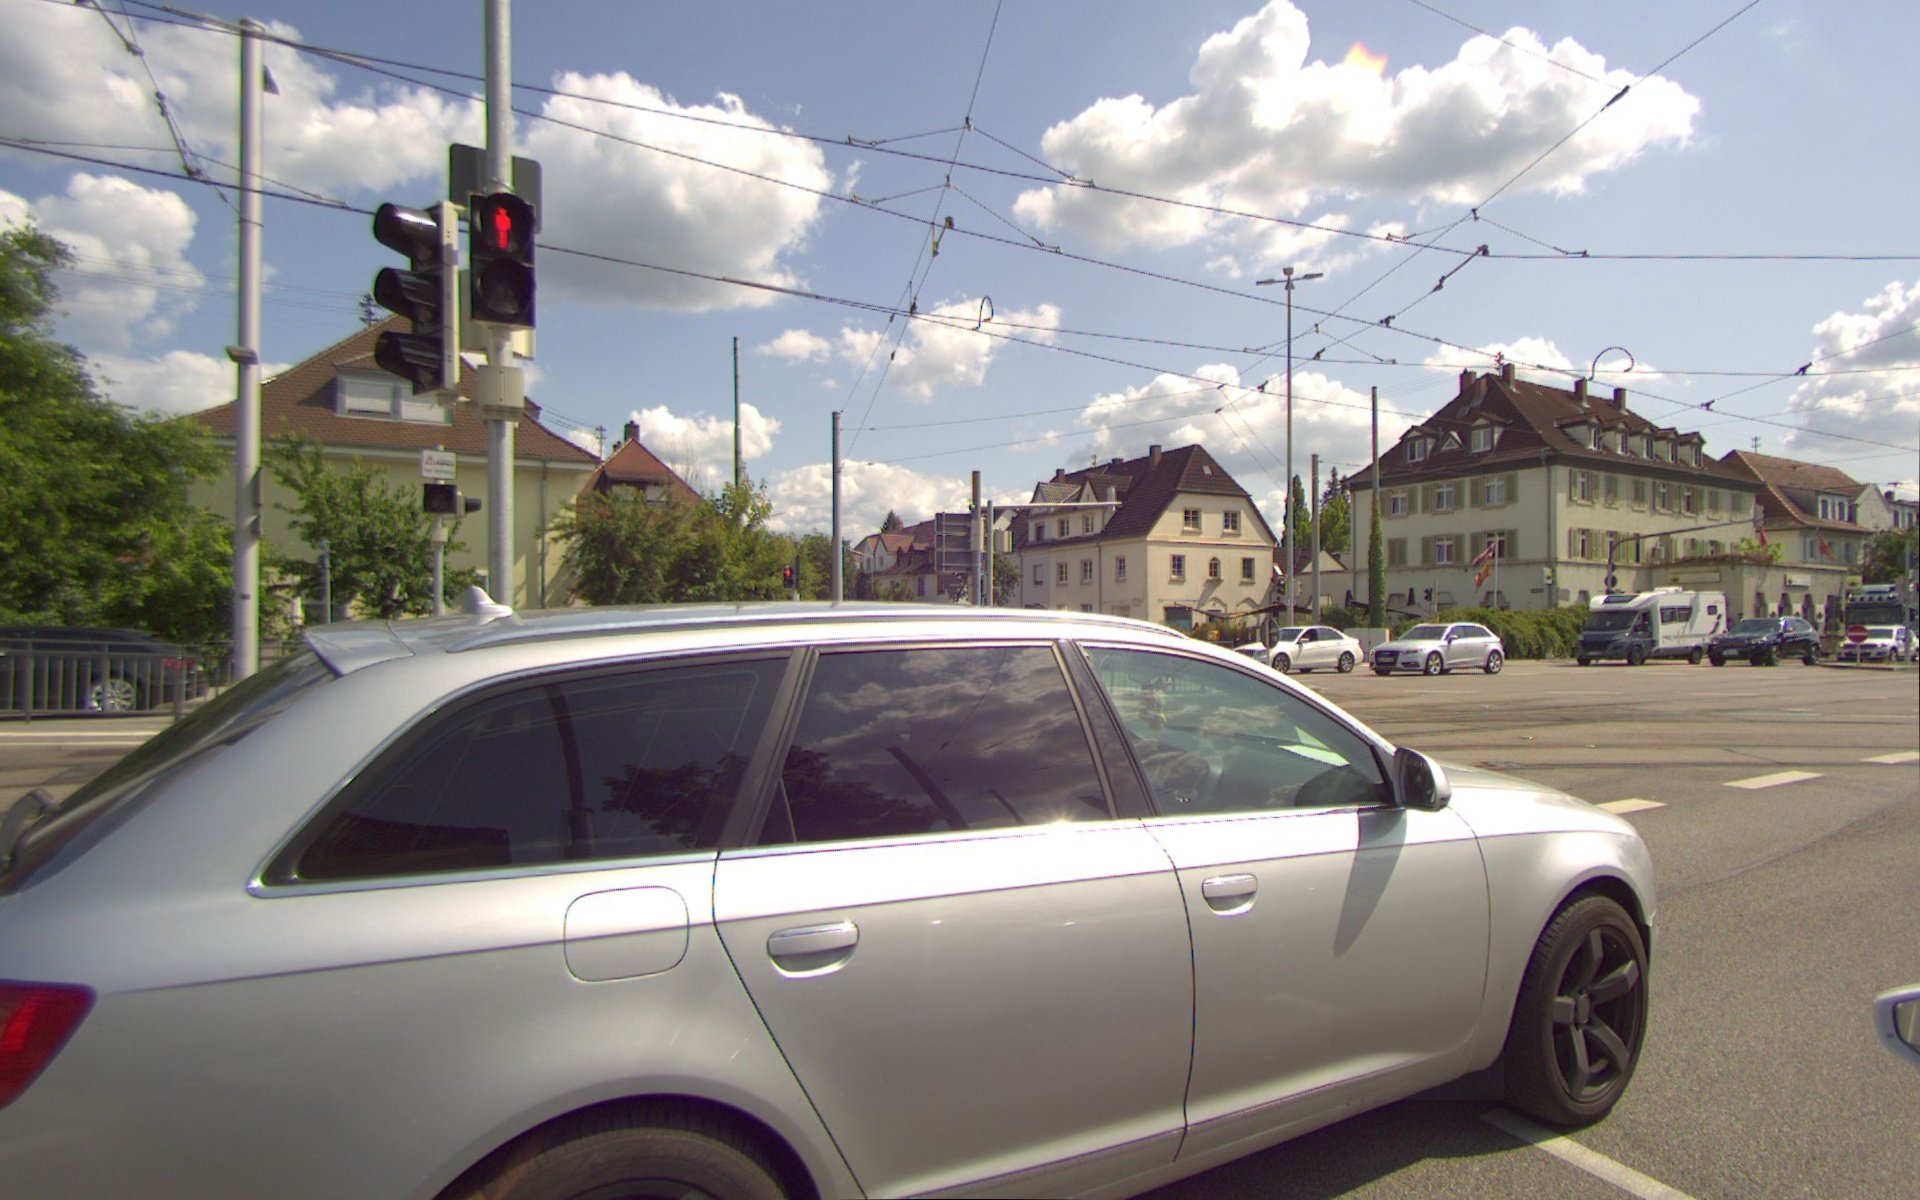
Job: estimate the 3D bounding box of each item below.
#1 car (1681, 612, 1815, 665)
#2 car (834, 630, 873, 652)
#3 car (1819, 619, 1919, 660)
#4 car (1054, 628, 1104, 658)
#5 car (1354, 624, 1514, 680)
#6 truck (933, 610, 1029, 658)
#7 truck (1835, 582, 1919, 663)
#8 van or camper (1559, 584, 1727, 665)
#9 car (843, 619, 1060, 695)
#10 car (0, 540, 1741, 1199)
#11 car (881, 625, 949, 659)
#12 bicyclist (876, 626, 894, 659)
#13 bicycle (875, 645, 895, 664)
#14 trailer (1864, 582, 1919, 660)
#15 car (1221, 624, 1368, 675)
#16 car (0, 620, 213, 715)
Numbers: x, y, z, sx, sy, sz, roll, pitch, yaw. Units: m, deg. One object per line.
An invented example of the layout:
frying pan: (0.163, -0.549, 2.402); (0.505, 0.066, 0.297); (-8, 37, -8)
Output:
car: (28.441, 1.394, 36.240); (4.816, 1.799, 1.986); (1, -3, -28)
car: (-9.118, 3.483, 85.712); (1.976, 1.617, 3.970); (2, 0, -29)
car: (38.299, 1.701, 42.261); (4.128, 1.572, 1.985); (2, -5, -30)
car: (7.593, 2.733, 64.423); (1.900, 1.690, 4.279); (2, 0, -11)
car: (13.112, 1.424, 27.762); (4.128, 1.369, 1.984); (2, 0, -30)
truck: (0.835, 1.497, 45.817); (1.668, 1.947, 6.162); (2, 0, -27)
truck: (47.270, 1.176, 50.746); (5.595, 3.871, 2.590); (0, -3, -28)
van or camper: (27.061, 0.973, 39.691); (7.659, 2.968, 2.314); (1, -1, -29)
car: (-0.138, 1.133, 20.445); (4.128, 1.369, 1.676); (2, 0, -30)
car: (0.152, 0.719, 2.894); (4.668, 1.491, 1.785); (1, -1, -31)
car: (-2.398, 2.176, 52.364); (1.975, 1.573, 4.149); (3, -1, -27)
bicyclist: (-3.614, 2.051, 48.488); (0.595, 1.529, 0.641); (2, 0, -28)
bicycle: (-3.634, 2.639, 48.491); (0.595, 0.846, 1.075); (2, 0, -27)
trailer: (53.074, 1.155, 53.868); (12.675, 3.871, 2.590); (0, -3, -28)
car: (10.077, 1.487, 30.203); (4.290, 1.369, 1.678); (2, 0, -28)
car: (-14.582, 1.030, 15.837); (4.296, 1.369, 1.676); (2, 0, -31)
